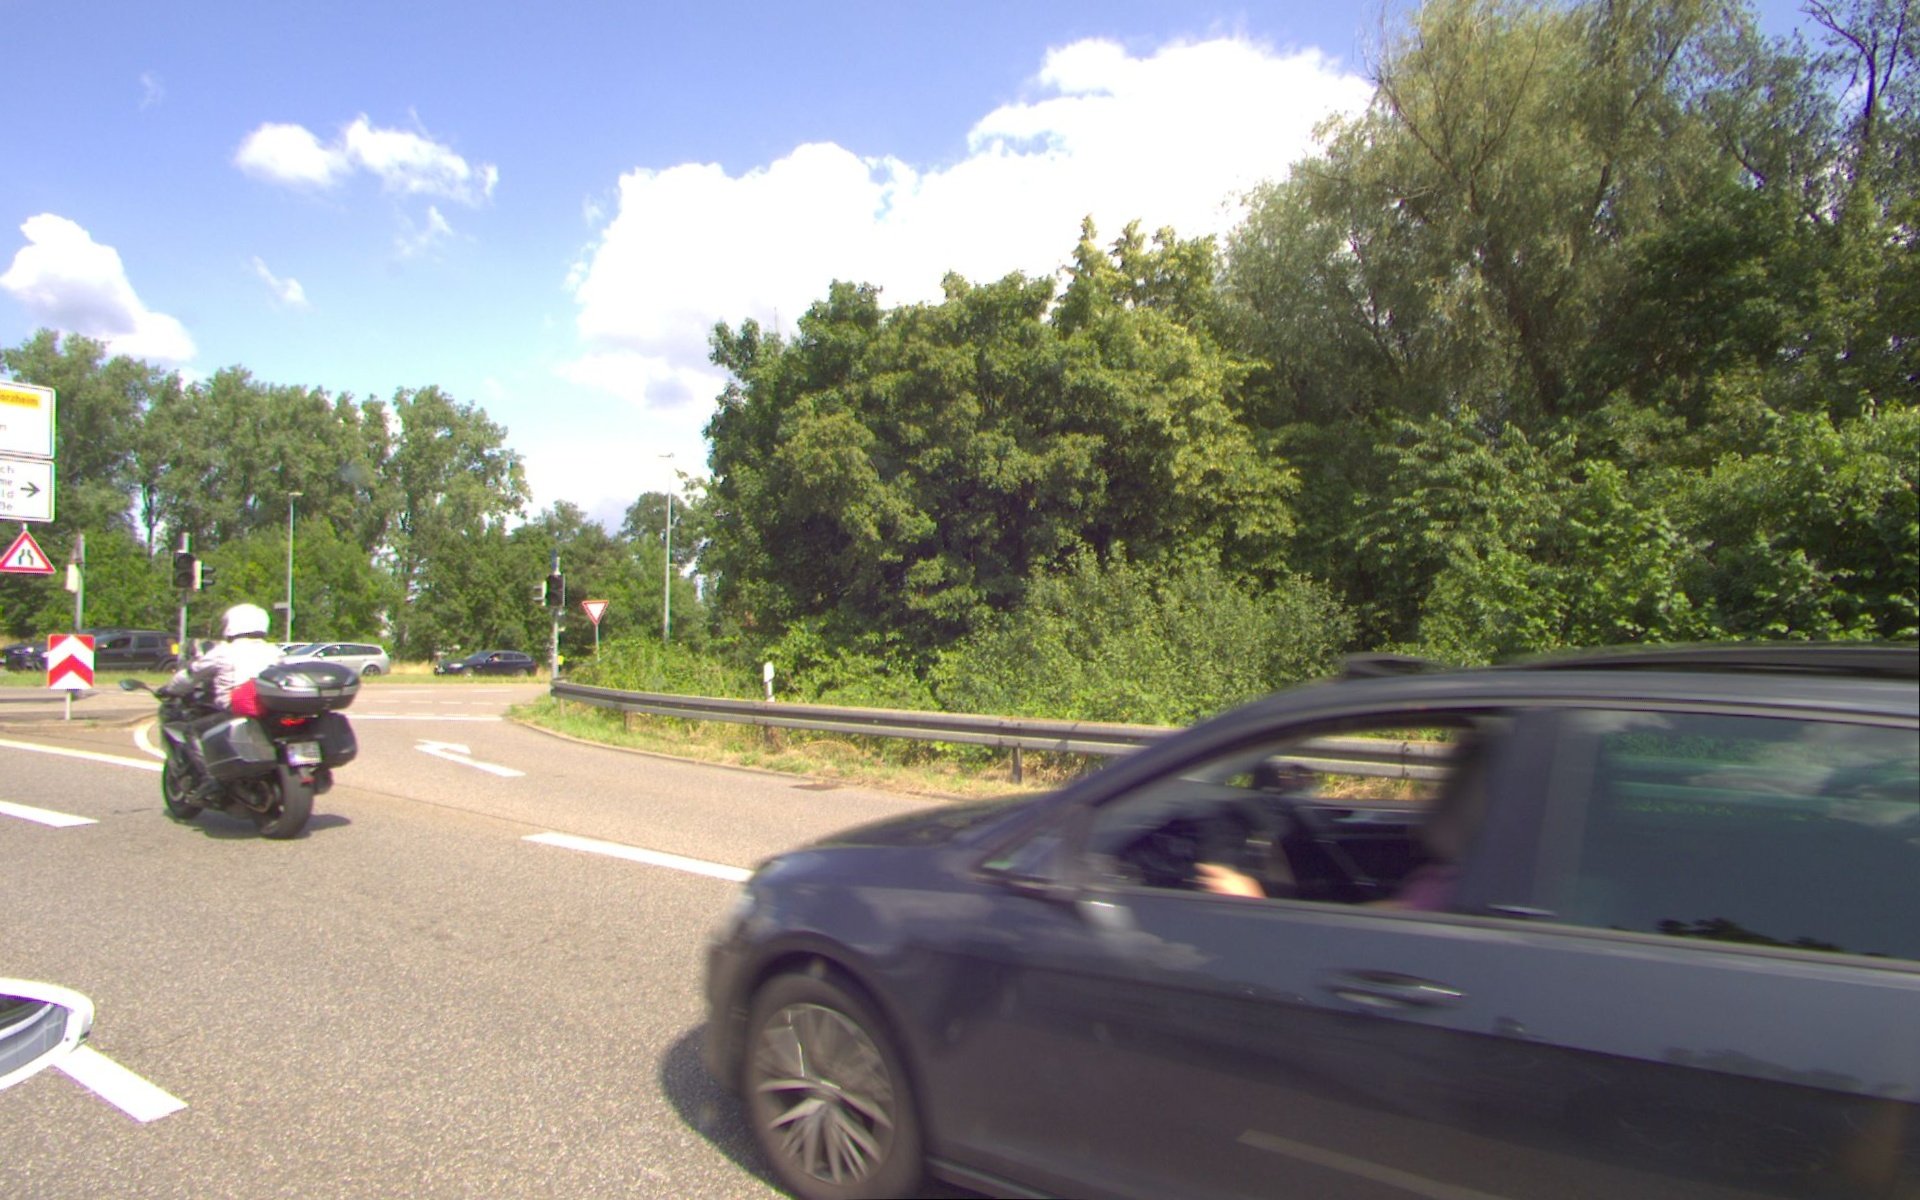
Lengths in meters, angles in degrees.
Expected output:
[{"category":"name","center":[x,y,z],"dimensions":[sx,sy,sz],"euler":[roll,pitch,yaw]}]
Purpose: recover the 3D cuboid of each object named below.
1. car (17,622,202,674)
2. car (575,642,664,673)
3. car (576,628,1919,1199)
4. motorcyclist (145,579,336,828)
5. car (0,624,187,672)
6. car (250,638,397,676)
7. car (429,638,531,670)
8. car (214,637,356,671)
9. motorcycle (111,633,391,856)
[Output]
[{"category":"car","center":[-27.553,1.562,32.586],"dimensions":[1.711,1.564,4.264],"euler":[0,-3,31]},{"category":"car","center":[-17.306,2.902,51.057],"dimensions":[1.710,1.495,4.222],"euler":[0,-3,29]},{"category":"car","center":[0.977,0.848,2.651],"dimensions":[3.991,1.495,1.728],"euler":[-1,-3,34]},{"category":"motorcyclist","center":[-5.409,0.733,7.545],"dimensions":[0.881,1.722,0.864],"euler":[0,-2,32]},{"category":"car","center":[-30.408,1.694,35.181],"dimensions":[1.711,1.564,4.842],"euler":[0,-3,31]},{"category":"car","center":[-24.202,2.151,38.263],"dimensions":[1.710,1.337,4.471],"euler":[0,-3,29]},{"category":"car","center":[-23.110,2.597,48.360],"dimensions":[1.710,1.495,4.222],"euler":[0,-3,29]},{"category":"car","center":[-27.296,2.190,40.631],"dimensions":[1.710,1.297,4.491],"euler":[0,-3,29]},{"category":"motorcycle","center":[-5.336,0.974,7.487],"dimensions":[2.336,1.406,0.864],"euler":[0,-2,32]}]
